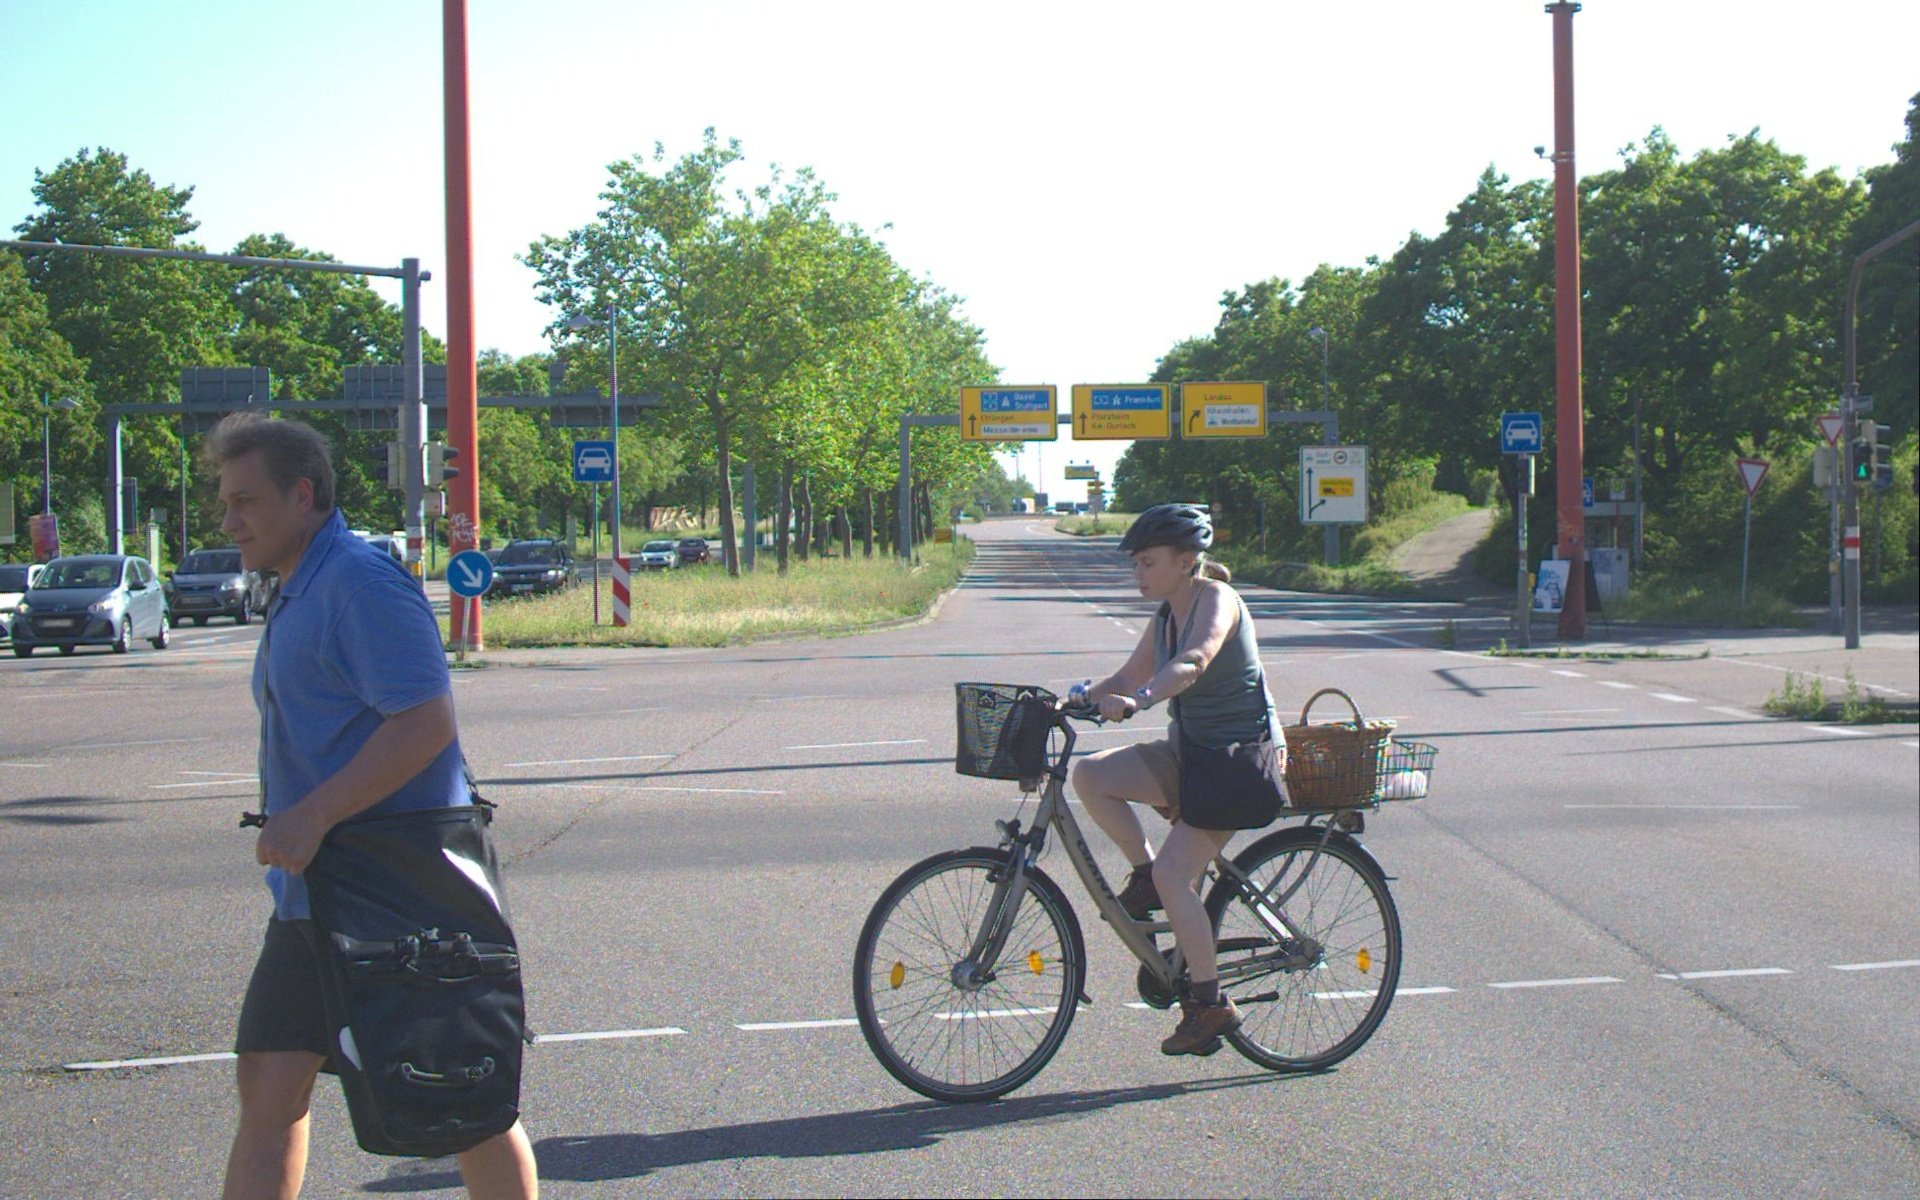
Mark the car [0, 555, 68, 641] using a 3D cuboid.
[{"bbox_3d":[-16.552,-0.046,58.771,1.739,1.406,3.613,-1,1,-1],"label":"car"}]

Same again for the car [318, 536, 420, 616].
[{"bbox_3d":[-15.603,-0.660,90.995,1.893,2.019,5.224,-1,1,-1],"label":"car"}]

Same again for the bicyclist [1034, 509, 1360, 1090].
[{"bbox_3d":[0.670,0.537,9.807,0.660,1.579,0.673,-1,1,-28],"label":"bicyclist"}]

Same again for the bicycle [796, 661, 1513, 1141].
[{"bbox_3d":[0.567,0.801,9.754,1.942,1.191,0.692,-1,1,-28],"label":"bicycle"}]

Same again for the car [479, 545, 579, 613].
[{"bbox_3d":[-9.902,-0.506,79.172,1.819,1.503,4.000,-1,1,-1],"label":"car"}]

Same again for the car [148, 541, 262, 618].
[{"bbox_3d":[-16.328,-0.471,74.519,1.739,1.606,3.613,-1,1,-1],"label":"car"}]

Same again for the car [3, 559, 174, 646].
[{"bbox_3d":[-13.114,0.016,51.906,1.739,1.239,3.613,-1,1,-1],"label":"car"}]

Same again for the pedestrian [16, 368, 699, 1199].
[{"bbox_3d":[-1.079,0.517,6.025,0.984,1.787,0.955,-1,1,-22],"label":"pedestrian"}]

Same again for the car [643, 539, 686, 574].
[{"bbox_3d":[-14.371,-2.135,167.325,1.797,1.634,4.000,-1,1,-2],"label":"car"}]

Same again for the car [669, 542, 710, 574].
[{"bbox_3d":[-14.203,-2.229,180.672,1.819,1.623,4.000,-1,1,-1],"label":"car"}]
